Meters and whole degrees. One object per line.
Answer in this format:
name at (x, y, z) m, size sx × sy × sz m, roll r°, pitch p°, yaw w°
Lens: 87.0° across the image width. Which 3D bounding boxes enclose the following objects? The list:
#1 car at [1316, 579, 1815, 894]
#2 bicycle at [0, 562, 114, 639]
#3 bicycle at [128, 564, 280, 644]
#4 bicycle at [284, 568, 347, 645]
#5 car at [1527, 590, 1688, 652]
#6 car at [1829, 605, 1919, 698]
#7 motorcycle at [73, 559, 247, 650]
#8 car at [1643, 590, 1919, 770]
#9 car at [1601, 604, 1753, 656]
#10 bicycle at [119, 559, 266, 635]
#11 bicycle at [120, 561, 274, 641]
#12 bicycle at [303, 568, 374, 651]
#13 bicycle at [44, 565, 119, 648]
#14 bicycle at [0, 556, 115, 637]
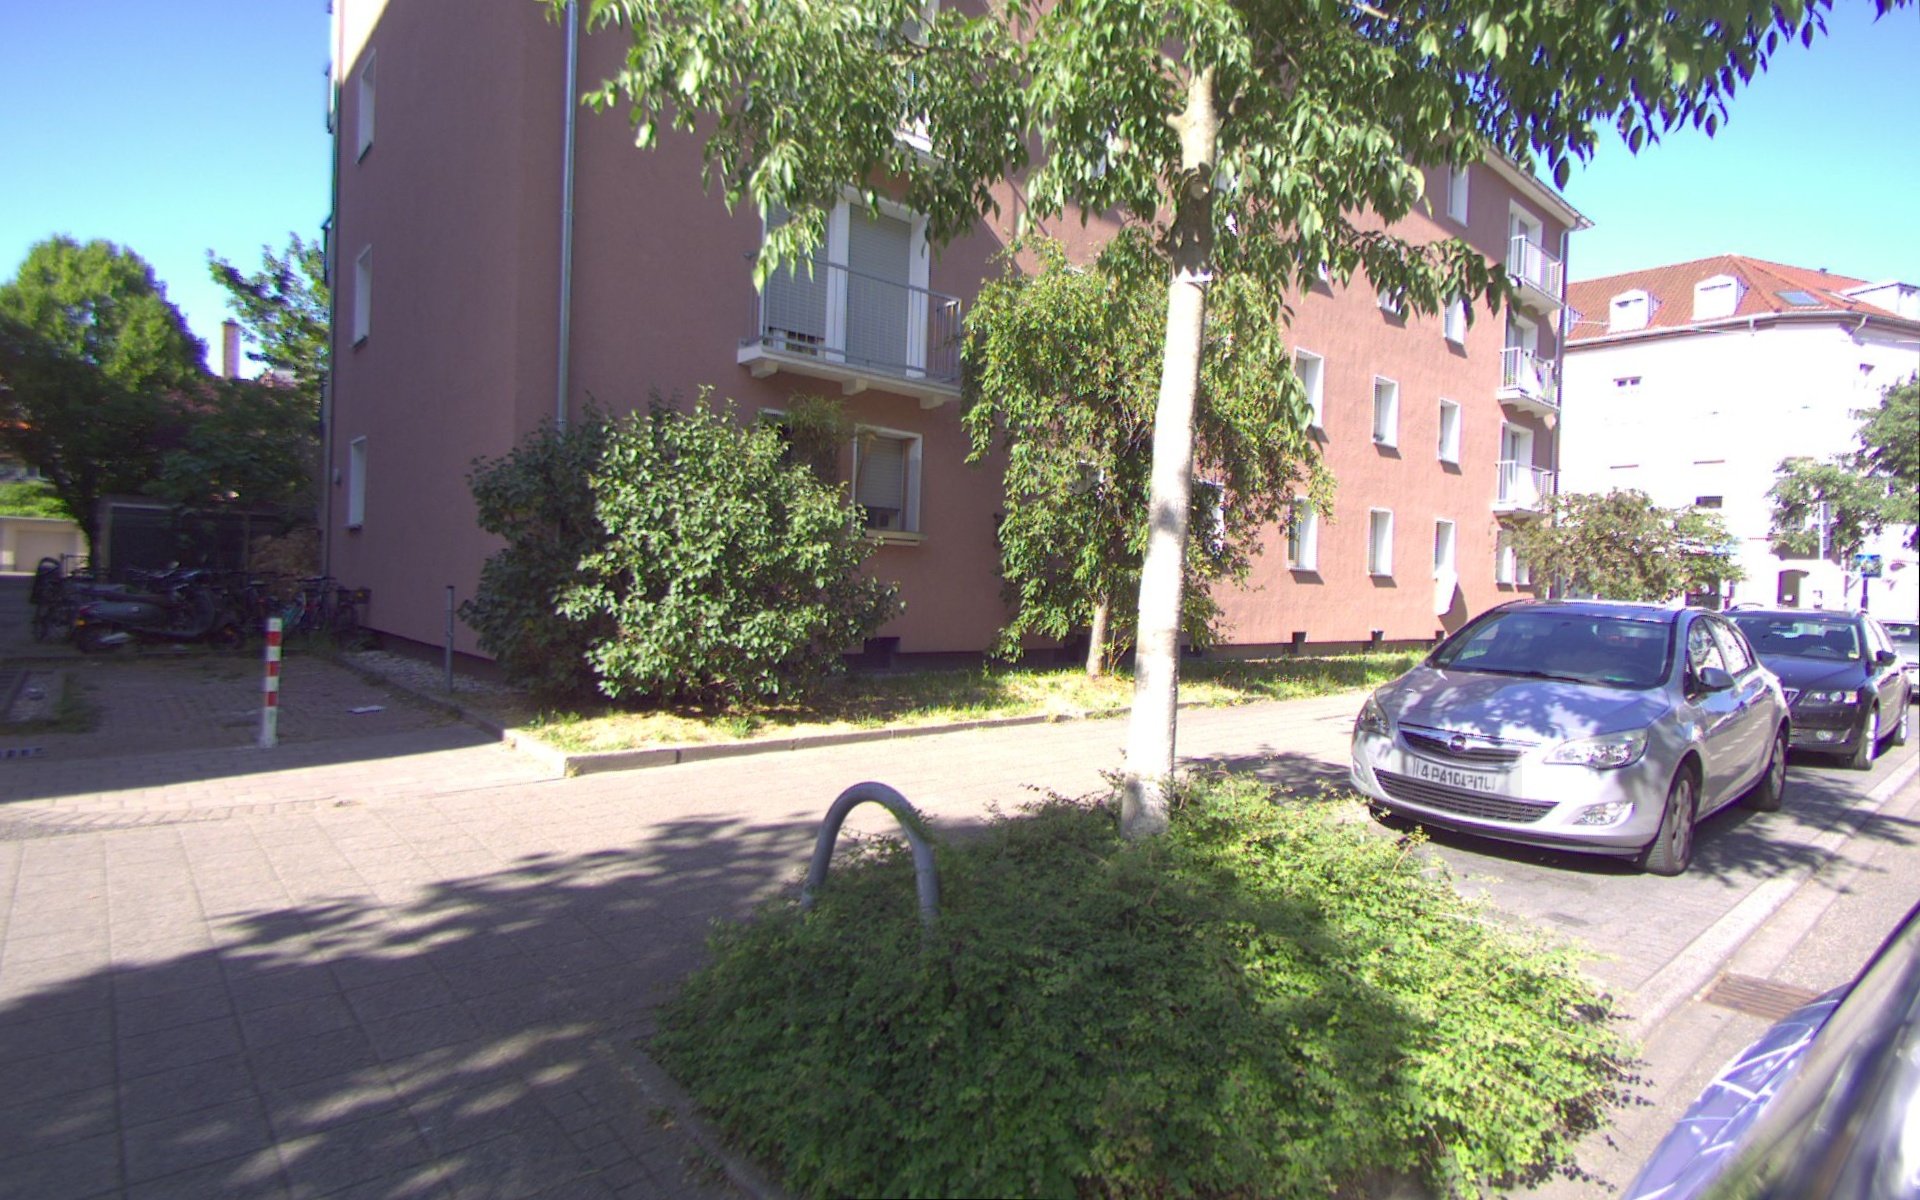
car at (4.235, 0.647, 6.820) m, size 3.930 × 1.472 × 1.719 m, roll 0°, pitch 2°, yaw -41°
bicycle at (-13.721, 0.007, 15.250) m, size 1.453 × 1.112 × 0.557 m, roll 1°, pitch 1°, yaw -40°
bicycle at (-11.078, 0.059, 14.856) m, size 1.740 × 1.120 × 0.567 m, roll 1°, pitch 1°, yaw -40°
bicycle at (-10.064, 0.074, 15.776) m, size 0.547 × 1.112 × 1.717 m, roll 1°, pitch 1°, yaw -42°
car at (24.179, 0.740, 37.924) m, size 4.745 × 2.039 × 1.968 m, roll 3°, pitch 1°, yaw 45°
car at (16.670, 0.860, 17.629) m, size 3.929 × 1.446 × 1.735 m, roll 1°, pitch 1°, yaw -41°
motorcycle at (-10.447, 0.064, 13.265) m, size 1.740 × 1.120 × 0.526 m, roll 1°, pitch 1°, yaw -40°
car at (8.861, 0.710, 10.694) m, size 4.235 × 1.501 × 1.661 m, roll 1°, pitch 1°, yaw -41°
car at (22.561, 0.914, 31.953) m, size 1.540 × 1.420 × 3.646 m, roll 1°, pitch 1°, yaw -41°
bicycle at (-12.315, -0.042, 16.283) m, size 1.847 × 1.166 × 0.578 m, roll 1°, pitch 1°, yaw -40°
bicycle at (-11.704, 0.014, 15.561) m, size 1.847 × 1.166 × 0.578 m, roll 1°, pitch 1°, yaw -40°
bicycle at (-8.943, 0.113, 14.542) m, size 0.584 × 1.112 × 1.538 m, roll 1°, pitch 1°, yaw -42°
bicycle at (-12.664, 0.072, 14.575) m, size 1.712 × 1.112 × 0.549 m, roll 2°, pitch 1°, yaw 41°
bicycle at (-14.075, -0.052, 15.699) m, size 1.453 × 1.221 × 0.557 m, roll 1°, pitch 1°, yaw -40°
